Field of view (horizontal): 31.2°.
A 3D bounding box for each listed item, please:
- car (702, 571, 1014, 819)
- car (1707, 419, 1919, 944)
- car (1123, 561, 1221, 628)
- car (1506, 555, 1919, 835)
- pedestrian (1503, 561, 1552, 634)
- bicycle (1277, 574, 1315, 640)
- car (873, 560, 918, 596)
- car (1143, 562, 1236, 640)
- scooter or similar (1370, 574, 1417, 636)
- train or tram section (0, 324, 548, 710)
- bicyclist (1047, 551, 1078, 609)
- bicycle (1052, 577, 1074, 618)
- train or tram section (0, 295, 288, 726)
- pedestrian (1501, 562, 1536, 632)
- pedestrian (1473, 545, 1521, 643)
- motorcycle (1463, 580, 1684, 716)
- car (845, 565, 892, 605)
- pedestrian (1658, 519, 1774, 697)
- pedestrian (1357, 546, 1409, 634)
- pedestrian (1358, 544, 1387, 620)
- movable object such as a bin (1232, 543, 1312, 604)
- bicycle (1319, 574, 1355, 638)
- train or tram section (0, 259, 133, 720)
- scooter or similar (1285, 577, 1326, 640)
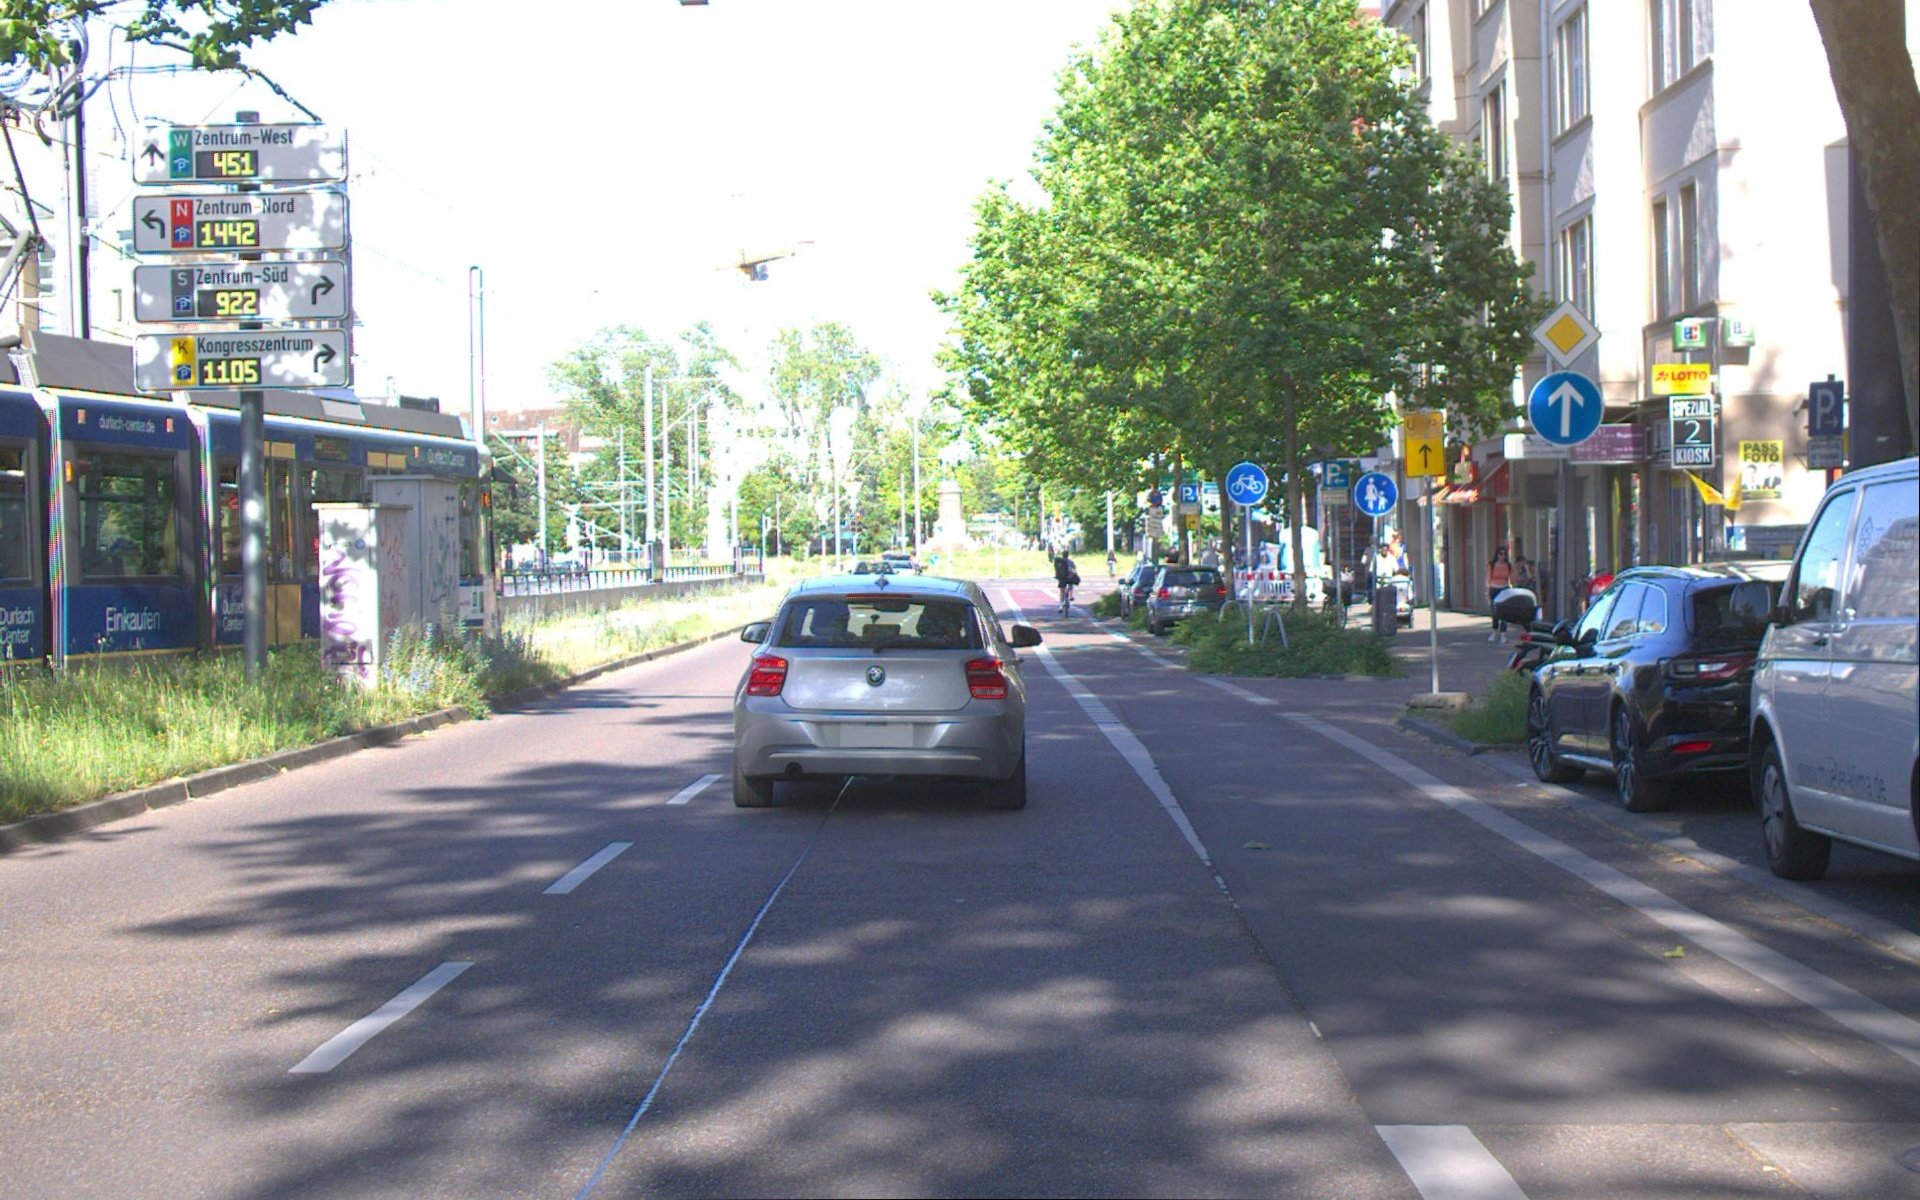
[{"bbox_3d":[-0.568,0.534,21.929,1.798,1.410,4.000,0,1,1],"label":"car"},{"bbox_3d":[4.618,0.314,14.564,1.856,2.007,4.724,1,0,0],"label":"car"},{"bbox_3d":[4.967,-0.160,80.983,2.038,1.504,4.594,0,1,0],"label":"car"},{"bbox_3d":[4.722,0.514,21.661,1.818,1.510,4.708,-2,0,1],"label":"car"},{"bbox_3d":[10.825,-0.049,65.619,0.785,1.364,0.857,-1,0,1],"label":"pedestrian"},{"bbox_3d":[6.329,0.142,64.787,0.392,1.211,1.903,-1,-1,-3],"label":"bicycle"},{"bbox_3d":[-2.568,-0.886,137.301,1.644,1.416,4.000,1,0,0],"label":"car"},{"bbox_3d":[4.871,-0.001,73.394,1.694,1.497,3.801,-3,1,0],"label":"car"},{"bbox_3d":[8.347,0.093,66.213,0.744,1.167,0.849,-1,0,-3],"label":"scooter or similar"},{"bbox_3d":[-7.721,-0.892,40.507,2.953,3.883,10.799,1,0,8],"label":"train or tram section"},{"bbox_3d":[2.763,-0.542,92.533,0.785,1.526,0.895,1,-1,1],"label":"bicyclist"},{"bbox_3d":[2.767,-0.070,92.447,0.499,1.085,1.997,1,0,0],"label":"bicycle"},{"bbox_3d":[-8.619,-0.848,33.184,2.956,3.883,3.864,1,0,9],"label":"train or tram section"},{"bbox_3d":[10.798,-0.061,66.503,0.535,1.328,0.820,-1,0,1],"label":"pedestrian"},{"bbox_3d":[8.934,-0.101,57.192,0.682,1.616,0.562,0,0,-2],"label":"pedestrian"},{"bbox_3d":[5.776,0.451,32.406,1.949,1.227,0.516,1,0,-3],"label":"motorcycle"},{"bbox_3d":[-3.467,-0.578,129.160,1.726,1.465,4.411,0,1,-2],"label":"car"},{"bbox_3d":[8.727,0.089,39.723,1.088,2.007,1.046,1,0,1],"label":"pedestrian"},{"bbox_3d":[8.286,-0.195,67.354,0.859,1.699,0.917,0,0,-2],"label":"pedestrian"},{"bbox_3d":[9.319,-0.403,77.703,0.558,1.705,0.770,0,0,0],"label":"pedestrian"},{"bbox_3d":[9.990,-0.867,110.331,1.945,1.837,3.481,-1,2,-5],"label":"movable object such as a bin"},{"bbox_3d":[7.213,0.106,65.668,0.386,1.203,1.872,0,1,15],"label":"bicycle"},{"bbox_3d":[-10.151,-0.920,24.206,2.930,3.799,14.267,1,0,10],"label":"train or tram section"},{"bbox_3d":[6.718,0.159,66.793,0.379,1.192,1.573,-1,1,20],"label":"scooter or similar"}]
